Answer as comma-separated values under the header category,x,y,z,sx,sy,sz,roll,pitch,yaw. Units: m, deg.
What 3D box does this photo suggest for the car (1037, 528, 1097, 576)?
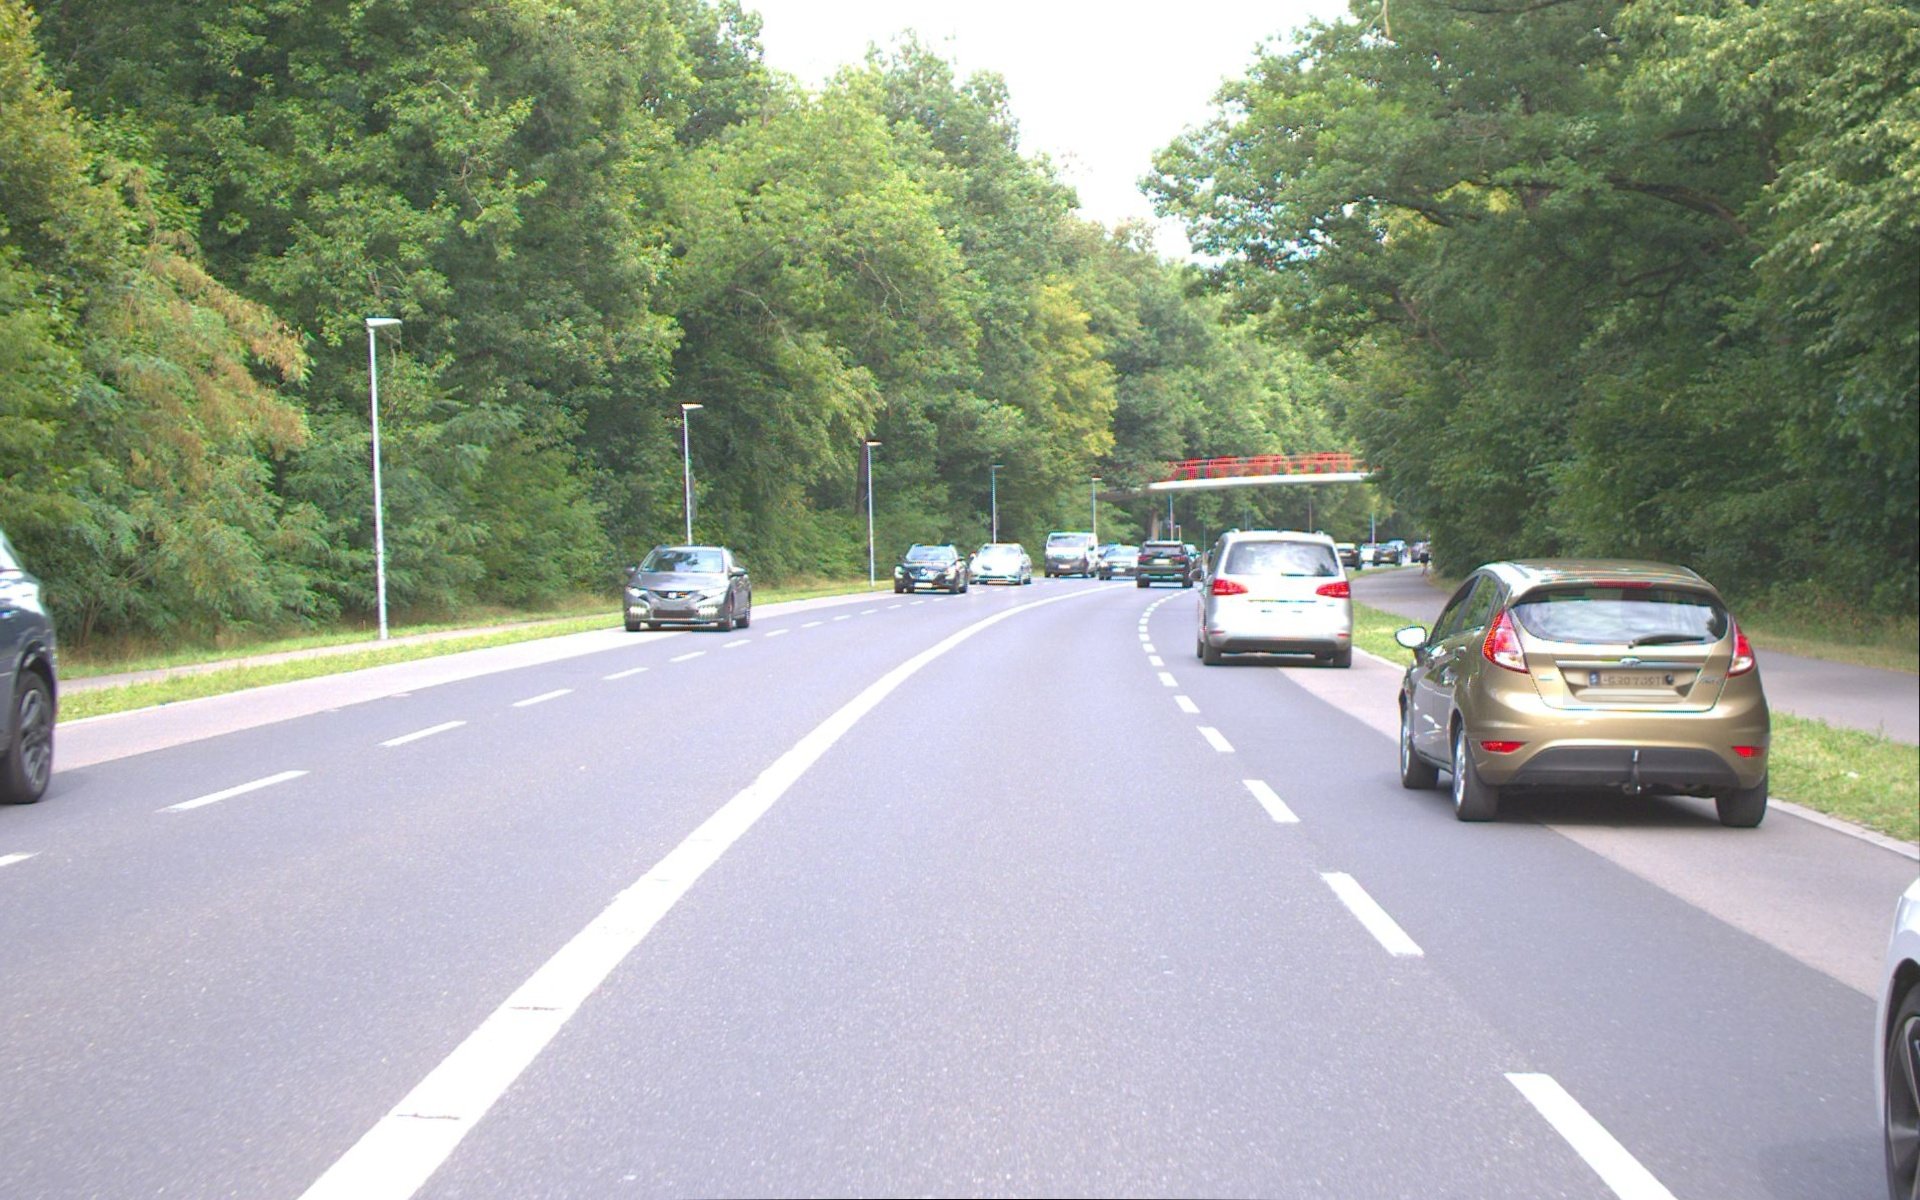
category,x,y,z,sx,sy,sz,roll,pitch,yaw
car,4.653,-2.073,148.770,1.994,2.007,5.052,0,0,8

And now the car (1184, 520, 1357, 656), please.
category,x,y,z,sx,sy,sz,roll,pitch,yaw
car,3.922,-0.147,44.007,1.994,1.601,4.000,2,0,3

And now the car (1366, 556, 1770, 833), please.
category,x,y,z,sx,sy,sz,roll,pitch,yaw
car,3.455,0.495,20.190,1.635,1.415,4.000,2,0,0

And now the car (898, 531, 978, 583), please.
category,x,y,z,sx,sy,sz,roll,pitch,yaw
car,-0.631,-1.255,102.498,1.881,1.438,4.402,2,0,6

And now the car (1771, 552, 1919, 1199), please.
category,x,y,z,sx,sy,sz,roll,pitch,yaw
car,2.727,0.653,5.599,1.836,1.405,4.491,0,2,1

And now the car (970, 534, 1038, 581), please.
category,x,y,z,sx,sy,sz,roll,pitch,yaw
car,1.588,-1.488,122.749,1.994,1.557,4.603,2,0,6

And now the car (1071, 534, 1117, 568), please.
category,x,y,z,sx,sy,sz,roll,pitch,yaw
car,6.506,-2.363,166.210,1.886,1.552,4.517,1,0,6

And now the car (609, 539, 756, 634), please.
category,x,y,z,sx,sy,sz,roll,pitch,yaw
car,-4.664,-0.221,58.376,1.896,1.478,4.538,2,0,3

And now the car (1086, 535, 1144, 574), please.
category,x,y,z,sx,sy,sz,roll,pitch,yaw
car,6.358,-1.836,140.666,1.657,1.481,3.864,2,0,13

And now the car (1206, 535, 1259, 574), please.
category,x,y,z,sx,sy,sz,roll,pitch,yaw
car,12.645,-2.099,159.336,1.994,1.691,3.998,2,0,10

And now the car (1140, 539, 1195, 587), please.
category,x,y,z,sx,sy,sz,roll,pitch,yaw
car,7.224,-1.263,119.520,1.730,1.582,3.999,2,0,5

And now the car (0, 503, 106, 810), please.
category,x,y,z,sx,sy,sz,roll,pitch,yaw
car,-6.055,0.304,17.777,1.993,1.611,4.663,0,0,2

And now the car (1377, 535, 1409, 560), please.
category,x,y,z,sx,sy,sz,roll,pitch,yaw
car,29.151,-3.548,231.427,1.994,1.700,3.999,0,1,10
